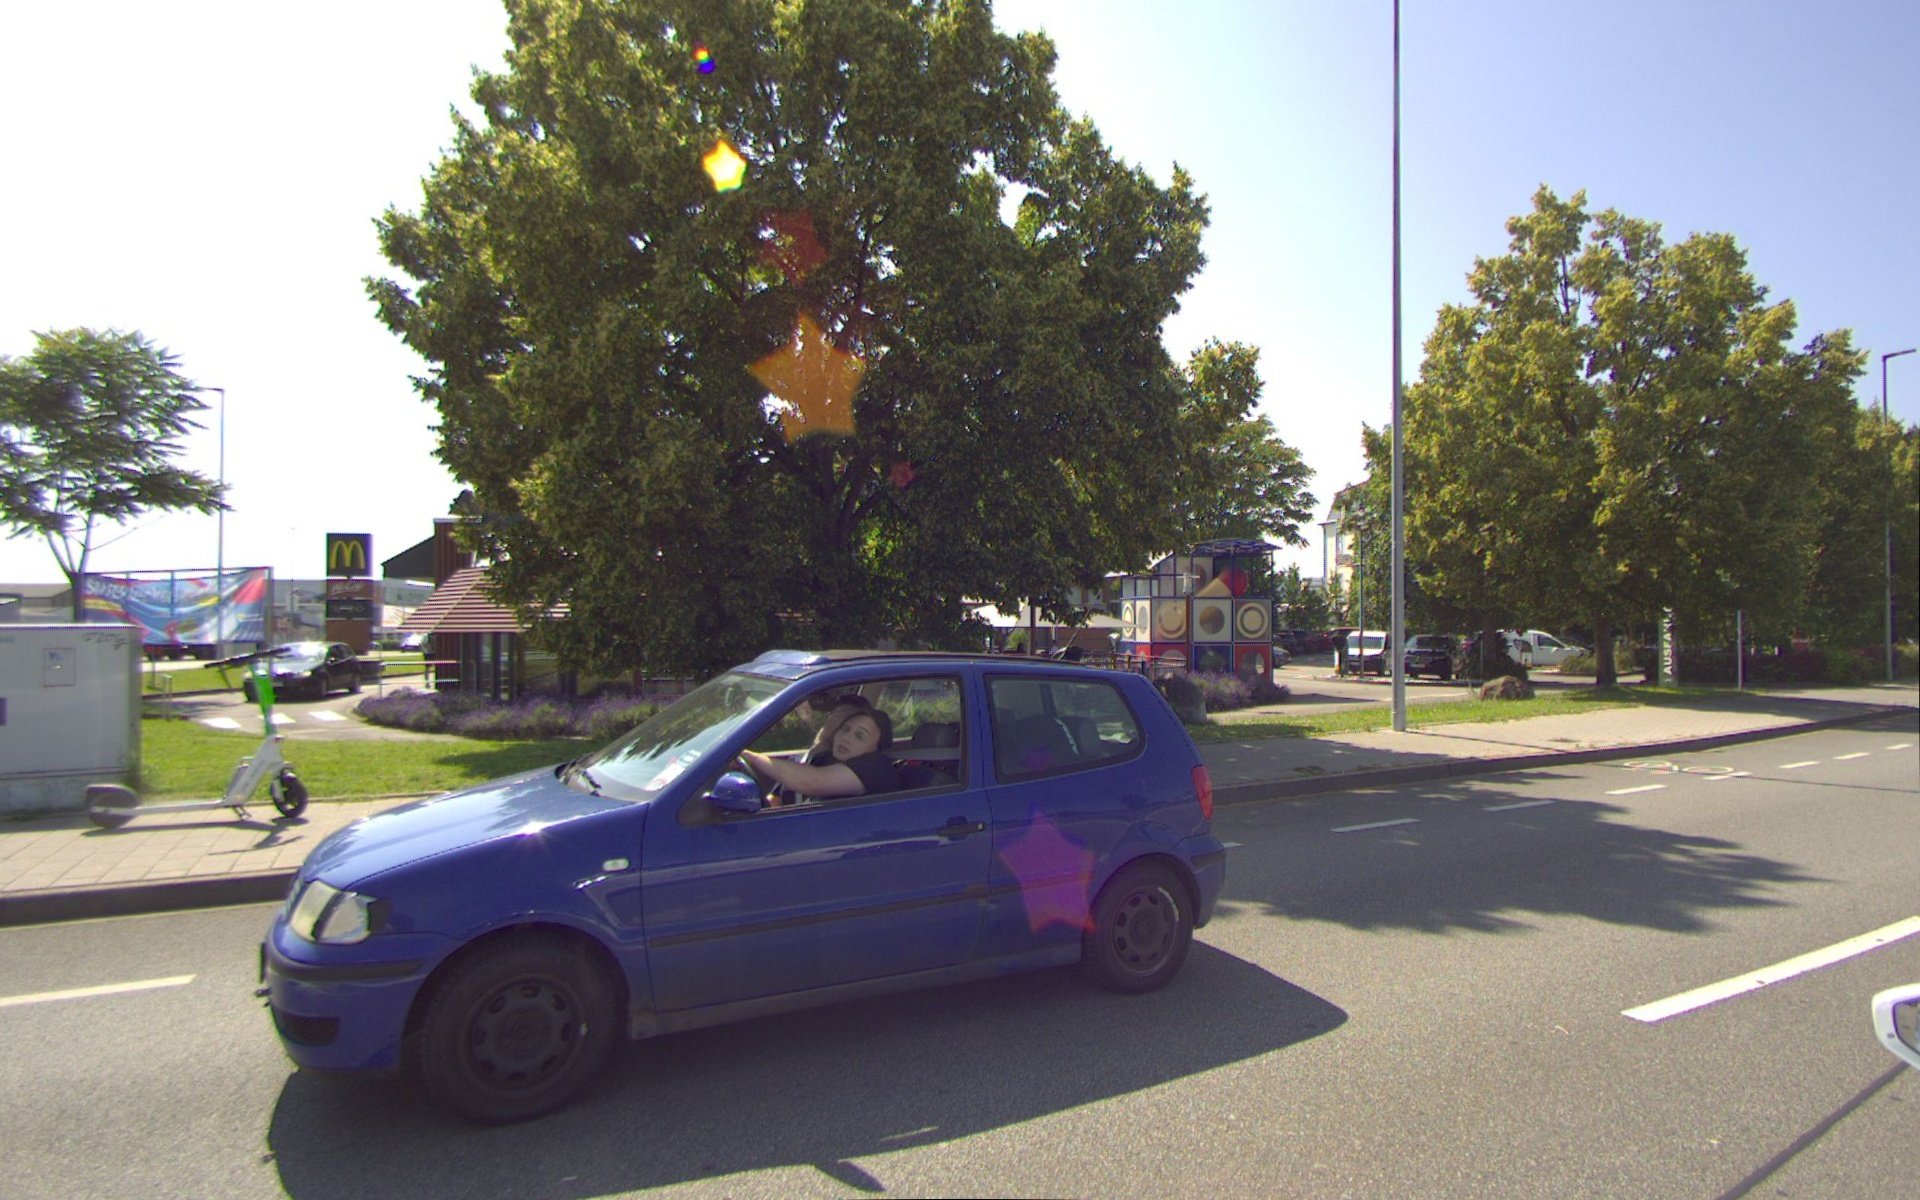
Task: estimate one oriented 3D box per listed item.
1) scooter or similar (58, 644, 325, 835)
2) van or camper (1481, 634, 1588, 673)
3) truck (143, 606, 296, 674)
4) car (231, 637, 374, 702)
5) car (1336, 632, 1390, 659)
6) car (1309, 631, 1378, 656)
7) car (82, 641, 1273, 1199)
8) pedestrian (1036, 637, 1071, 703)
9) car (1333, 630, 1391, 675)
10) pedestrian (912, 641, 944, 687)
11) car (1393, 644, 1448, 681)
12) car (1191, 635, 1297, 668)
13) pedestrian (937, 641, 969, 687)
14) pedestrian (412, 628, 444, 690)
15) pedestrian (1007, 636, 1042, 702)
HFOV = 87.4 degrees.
[{"bbox_3d":[-5.176,0.906,6.847,1.344,1.200,0.471,0,-1,-19],"label":"scooter or similar"},{"bbox_3d":[27.169,2.511,47.549,4.214,1.763,1.994,-1,-2,35],"label":"van or camper"},{"bbox_3d":[-40.899,2.148,55.994,3.256,3.431,9.149,0,-1,-11],"label":"truck"},{"bbox_3d":[-17.399,1.784,26.836,1.834,1.572,4.178,0,-2,-13],"label":"car"},{"bbox_3d":[23.834,2.661,59.506,1.474,1.546,3.429,0,-2,-9],"label":"car"},{"bbox_3d":[25.374,2.835,66.476,3.941,1.619,1.790,-2,-2,41],"label":"car"},{"bbox_3d":[-0.776,0.887,4.130,3.949,1.399,1.650,1,-2,-28],"label":"car"},{"bbox_3d":[2.937,2.173,31.444,0.745,2.040,0.828,1,-2,-34],"label":"pedestrian"},{"bbox_3d":[16.625,2.124,41.435,1.687,1.758,4.241,-1,-2,30],"label":"car"},{"bbox_3d":[-1.081,2.121,33.633,0.745,1.493,0.828,1,-2,-34],"label":"pedestrian"},{"bbox_3d":[17.442,2.332,38.161,1.577,1.303,4.000,-1,-2,20],"label":"car"},{"bbox_3d":[13.000,2.320,46.029,4.313,1.457,1.997,-1,-2,29],"label":"car"},{"bbox_3d":[-0.225,2.100,33.128,0.745,1.493,0.828,1,-2,-34],"label":"pedestrian"},{"bbox_3d":[-15.637,1.721,29.523,0.627,1.781,0.890,0,-1,-14],"label":"pedestrian"},{"bbox_3d":[2.001,2.141,31.409,0.745,2.040,0.828,1,-2,-34],"label":"pedestrian"}]
